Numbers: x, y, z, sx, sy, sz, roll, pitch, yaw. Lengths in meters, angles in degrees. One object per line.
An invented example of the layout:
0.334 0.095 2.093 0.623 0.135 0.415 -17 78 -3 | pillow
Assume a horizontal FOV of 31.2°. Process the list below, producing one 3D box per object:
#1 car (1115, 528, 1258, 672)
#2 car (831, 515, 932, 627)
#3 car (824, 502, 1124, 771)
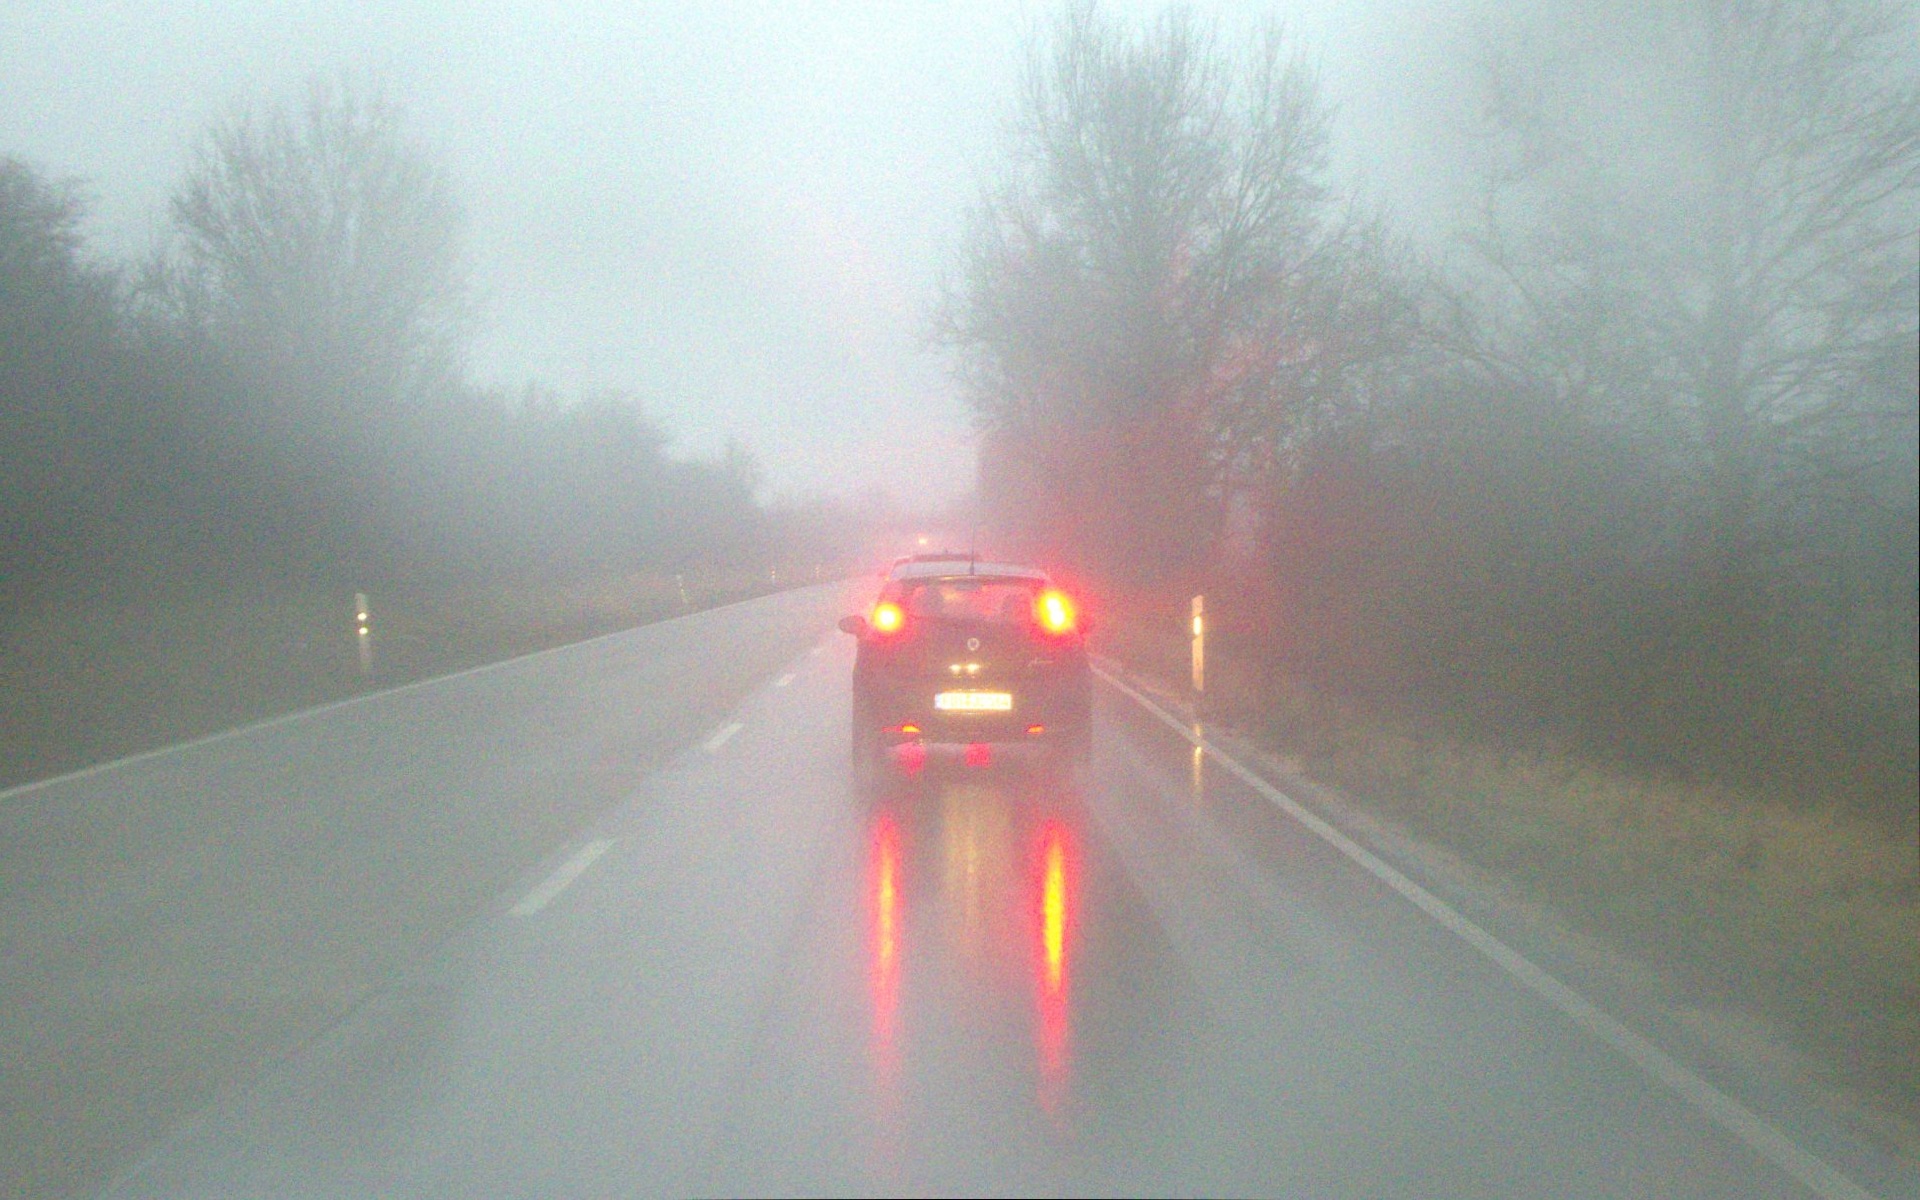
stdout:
2.628 -0.028 40.396 1.564 1.586 3.488 1 1 2 | car
-1.345 -0.525 59.947 1.574 1.868 3.709 1 1 1 | car
0.130 0.207 25.193 1.993 1.778 4.000 1 1 1 | car
